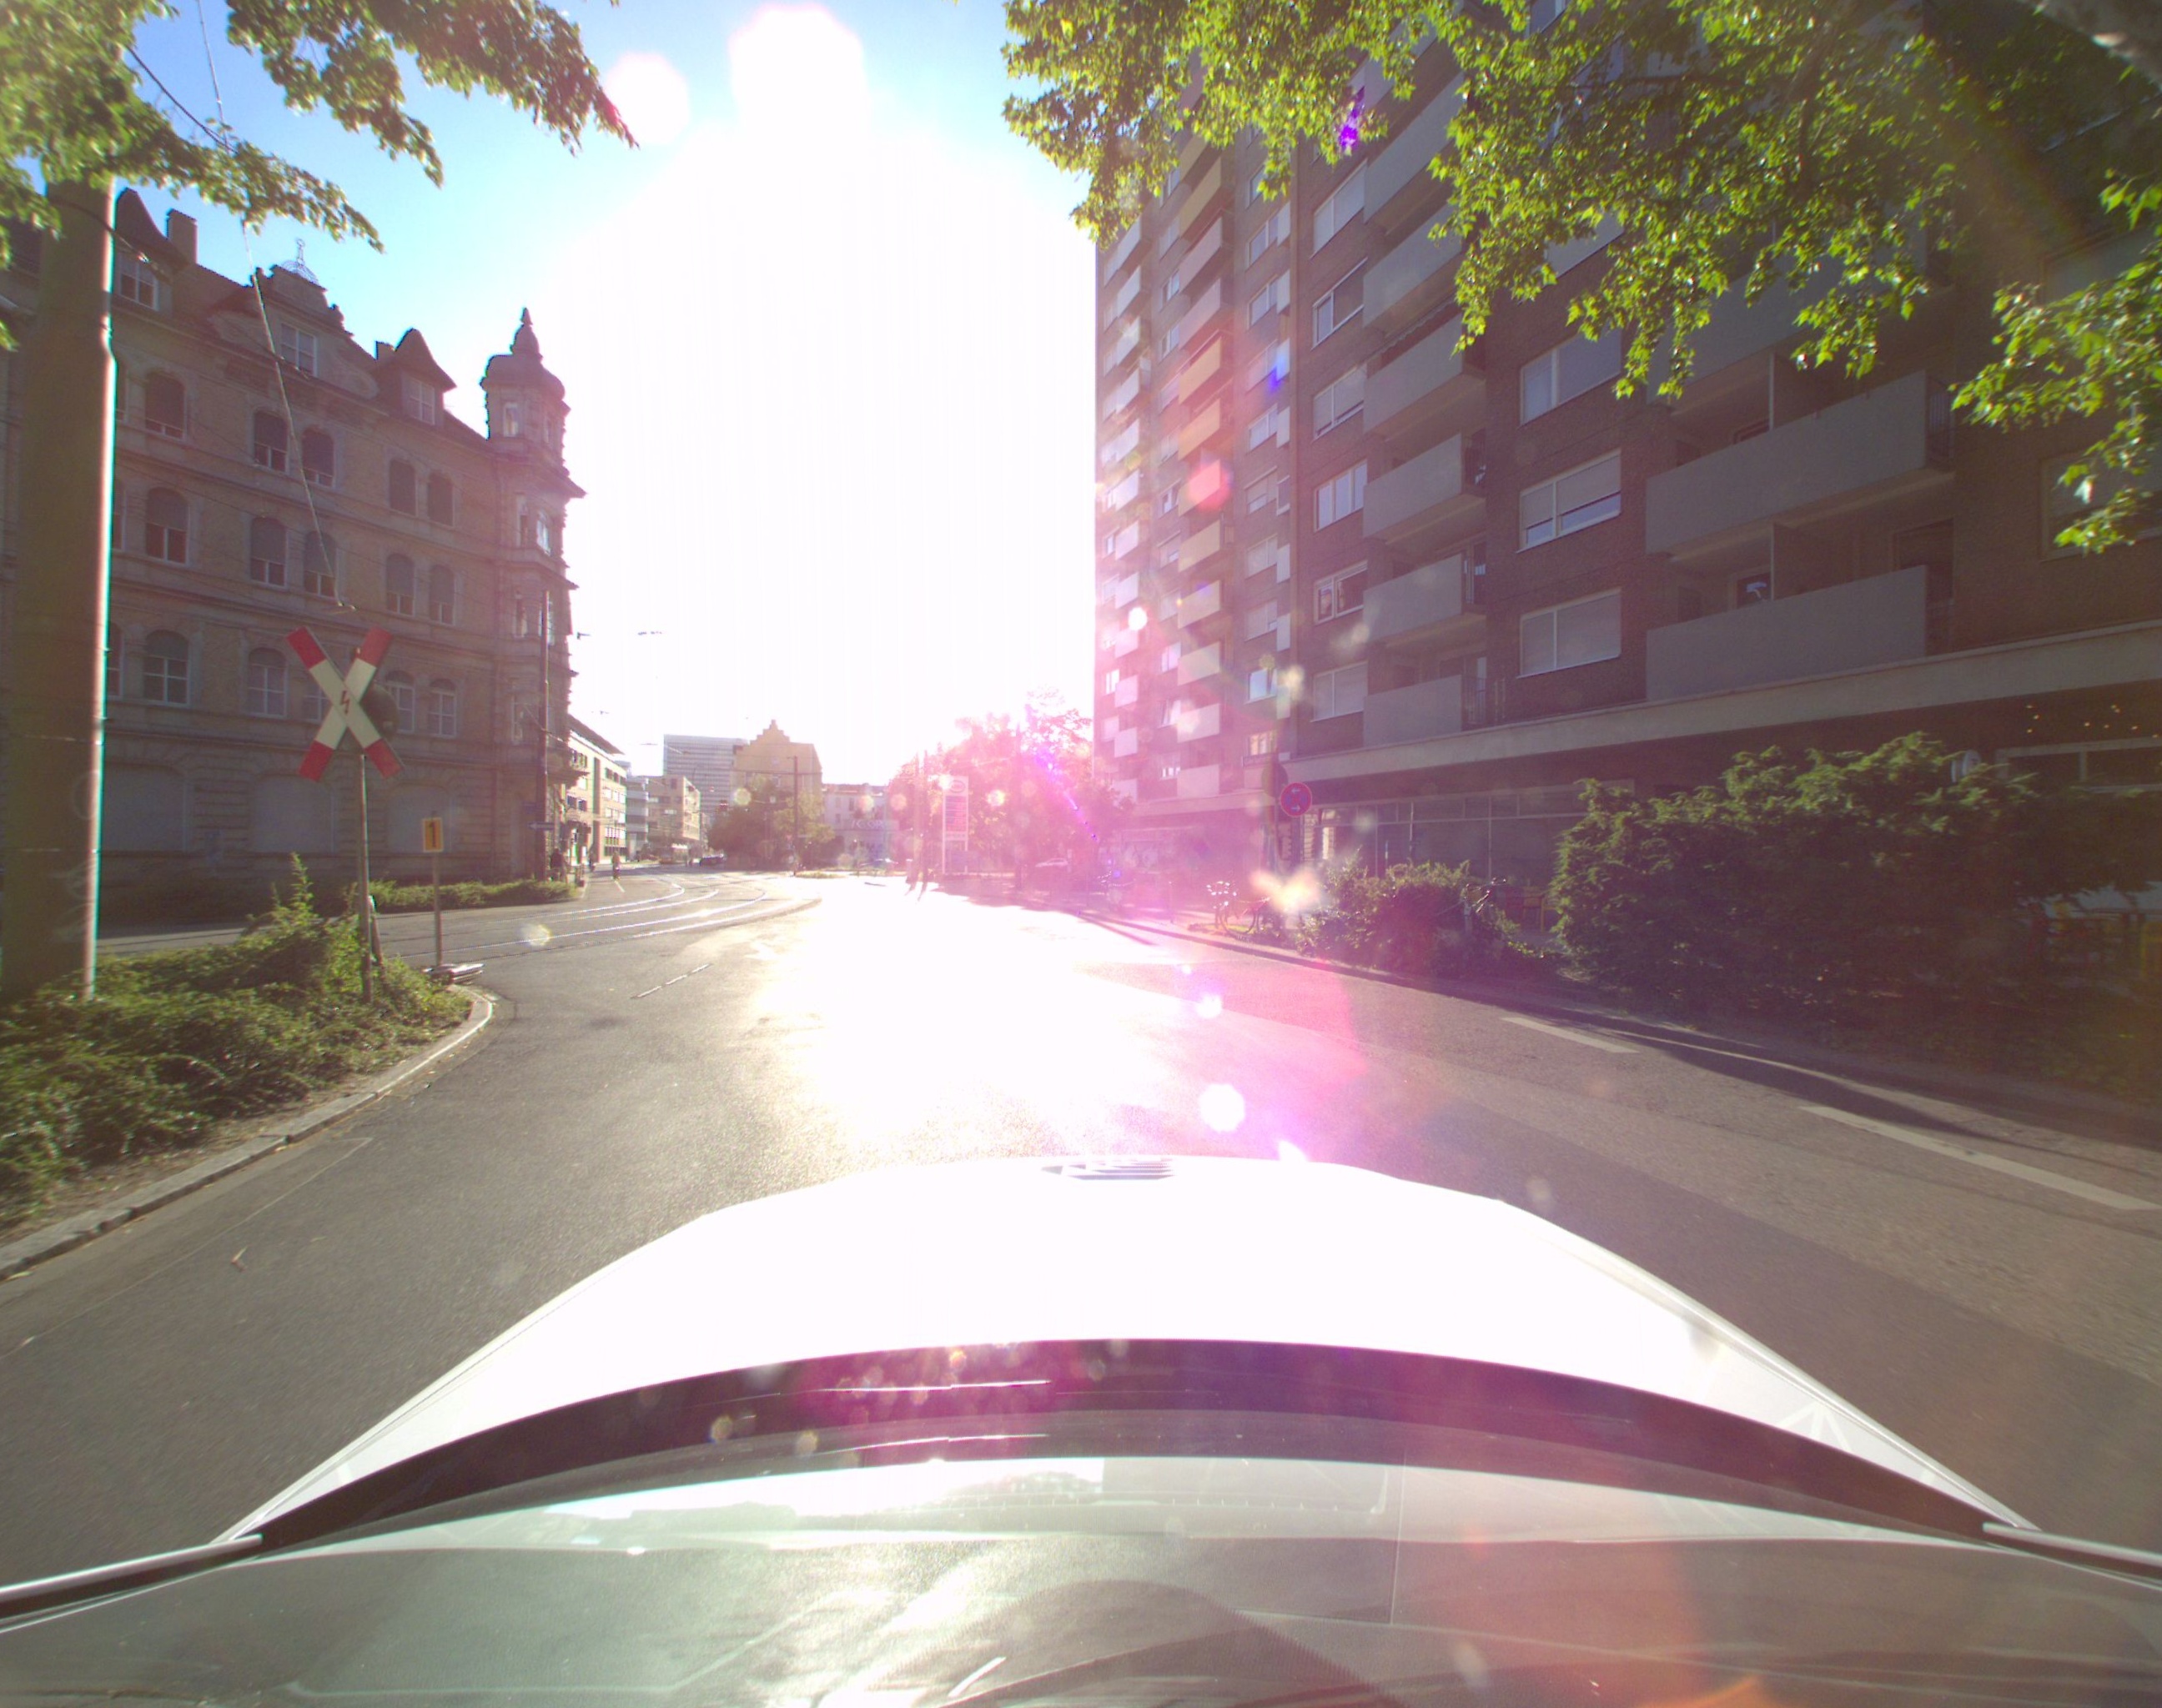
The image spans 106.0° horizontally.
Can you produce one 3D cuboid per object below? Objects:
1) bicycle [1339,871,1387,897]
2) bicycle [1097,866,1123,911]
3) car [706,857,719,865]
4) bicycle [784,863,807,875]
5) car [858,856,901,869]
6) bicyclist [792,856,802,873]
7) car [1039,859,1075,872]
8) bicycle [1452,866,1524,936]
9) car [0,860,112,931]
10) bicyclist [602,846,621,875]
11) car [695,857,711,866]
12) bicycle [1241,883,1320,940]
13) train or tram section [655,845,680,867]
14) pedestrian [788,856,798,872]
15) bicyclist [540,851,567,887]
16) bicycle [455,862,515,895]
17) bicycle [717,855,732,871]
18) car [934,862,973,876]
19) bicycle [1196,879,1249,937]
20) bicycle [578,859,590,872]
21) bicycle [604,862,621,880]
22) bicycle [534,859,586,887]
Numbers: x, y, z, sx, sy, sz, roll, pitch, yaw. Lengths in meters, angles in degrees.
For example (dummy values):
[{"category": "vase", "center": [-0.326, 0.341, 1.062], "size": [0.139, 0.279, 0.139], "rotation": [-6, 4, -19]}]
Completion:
[{"category": "bicycle", "center": [10.036, 1.054, 29.027], "size": [0.645, 0.899, 1.637], "rotation": [0, -1, -26]}, {"category": "bicycle", "center": [0.829, 0.982, 23.792], "size": [0.636, 1.226, 2.087], "rotation": [0, 0, -2]}, {"category": "car", "center": [-67.512, 1.281, 149.306], "size": [2.002, 1.486, 3.970], "rotation": [0, 0, -23]}, {"category": "bicycle", "center": [-25.081, 1.311, 71.598], "size": [1.842, 0.984, 0.728], "rotation": [0, -1, -26]}, {"category": "car", "center": [-23.081, 1.000, 93.239], "size": [4.466, 1.487, 1.778], "rotation": [0, 0, -4]}, {"category": "bicyclist", "center": [-25.005, 0.918, 71.643], "size": [0.808, 1.413, 0.619], "rotation": [0, -1, -26]}, {"category": "car", "center": [-2.759, 1.341, 93.175], "size": [3.985, 1.508, 1.667], "rotation": [0, -1, -9]}, {"category": "bicycle", "center": [6.317, 0.706, 12.671], "size": [0.349, 1.038, 1.045], "rotation": [0, 0, -21]}, {"category": "car", "center": [-24.215, 0.912, 17.773], "size": [1.835, 1.428, 3.513], "rotation": [3, 1, 22]}, {"category": "bicyclist", "center": [-30.607, 0.435, 53.104], "size": [1.036, 1.891, 1.101], "rotation": [1, -1, -32]}, {"category": "car", "center": [-58.330, 1.142, 125.781], "size": [2.002, 1.464, 3.970], "rotation": [0, 0, -23]}, {"category": "bicycle", "center": [3.523, 0.990, 14.551], "size": [0.544, 0.904, 1.725], "rotation": [0, -1, -18]}, {"category": "train or tram section", "center": [-70.961, 0.314, 140.024], "size": [2.250, 3.574, 14.175], "rotation": [0, 0, -21]}, {"category": "pedestrian", "center": [-30.007, 1.021, 84.965], "size": [0.930, 1.692, 0.772], "rotation": [0, -1, -23]}, {"category": "bicyclist", "center": [-21.837, 0.619, 33.729], "size": [0.588, 1.491, 0.704], "rotation": [0, -1, 11]}, {"category": "bicycle", "center": [-22.872, 0.933, 31.275], "size": [0.497, 1.206, 1.802], "rotation": [3, 1, 25]}, {"category": "bicycle", "center": [-40.436, 1.050, 92.385], "size": [1.353, 1.806, 0.566], "rotation": [0, 0, -7]}, {"category": "car", "center": [-13.461, 1.559, 86.332], "size": [3.984, 1.453, 1.805], "rotation": [0, -1, -8]}, {"category": "bicycle", "center": [2.802, 1.048, 16.303], "size": [0.636, 1.022, 2.087], "rotation": [0, 0, -2]}, {"category": "bicycle", "center": [-44.510, 1.017, 72.918], "size": [0.952, 1.097, 1.978], "rotation": [0, -1, -31]}, {"category": "bicycle", "center": [-30.434, 1.117, 52.924], "size": [0.888, 1.156, 2.301], "rotation": [1, -1, -31]}, {"category": "bicycle", "center": [-21.799, 0.761, 34.125], "size": [0.497, 1.133, 2.133], "rotation": [0, 0, 12]}]
